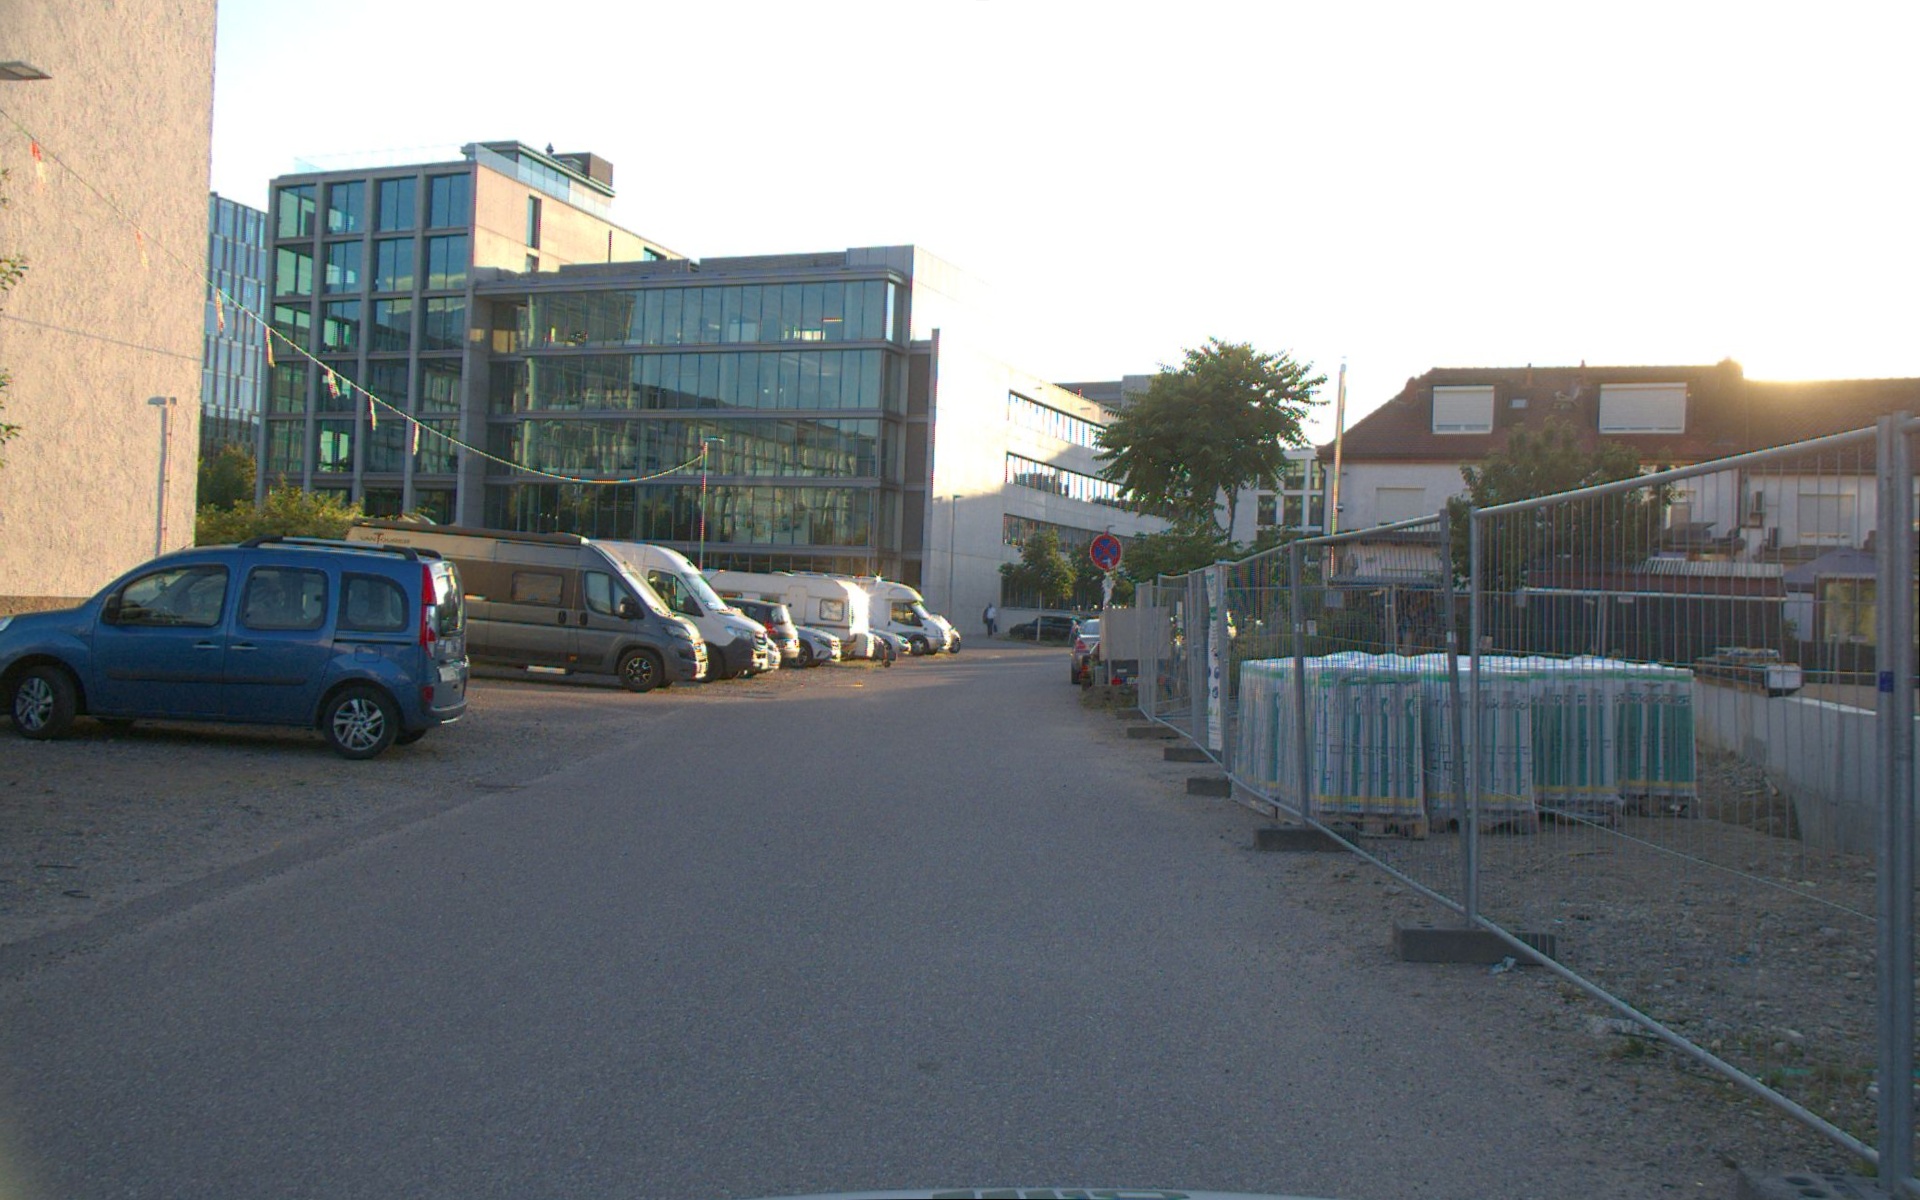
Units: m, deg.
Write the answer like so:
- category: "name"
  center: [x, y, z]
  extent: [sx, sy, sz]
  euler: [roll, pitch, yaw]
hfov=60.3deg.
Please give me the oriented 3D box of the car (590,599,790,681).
- category: "car"
  center: [-5.754, 0.850, 35.533]
  extent: [3.842, 1.533, 1.791]
  euler: [3, -1, 6]

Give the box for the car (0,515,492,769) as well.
- category: "car"
  center: [-6.465, 0.365, 15.124]
  extent: [3.852, 1.944, 1.745]
  euler: [4, 0, -7]

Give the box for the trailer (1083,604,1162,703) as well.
- category: "trailer"
  center: [2.901, 0.924, 29.835]
  extent: [1.224, 1.694, 2.803]
  euler: [0, -1, 2]

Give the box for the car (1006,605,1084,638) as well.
- category: "car"
  center: [4.403, 1.104, 85.414]
  extent: [3.656, 1.507, 1.771]
  euler: [3, 1, 16]

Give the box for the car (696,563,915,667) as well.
- category: "car"
  center: [-4.466, 0.459, 48.327]
  extent: [5.763, 2.578, 2.413]
  euler: [4, -1, 12]

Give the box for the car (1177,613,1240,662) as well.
- category: "car"
  center: [11.470, 1.697, 76.016]
  extent: [2.022, 2.131, 4.874]
  euler: [1, 0, 18]

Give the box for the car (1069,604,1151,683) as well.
- category: "car"
  center: [3.627, 0.994, 39.391]
  extent: [1.767, 1.755, 4.932]
  euler: [0, -1, 7]

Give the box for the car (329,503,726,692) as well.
- category: "car"
  center: [-7.468, -0.020, 29.124]
  extent: [6.260, 2.760, 2.112]
  euler: [4, -1, -2]

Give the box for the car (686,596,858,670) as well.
- category: "car"
  center: [-4.909, 0.849, 43.386]
  extent: [4.039, 1.618, 1.749]
  euler: [4, 0, 14]

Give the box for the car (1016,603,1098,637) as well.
- category: "car"
  center: [5.174, 1.065, 88.097]
  extent: [4.000, 1.555, 1.847]
  euler: [3, 0, 16]

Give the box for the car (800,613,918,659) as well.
- category: "car"
  center: [-3.453, 1.229, 56.950]
  extent: [3.727, 1.352, 1.694]
  euler: [3, 0, 9]

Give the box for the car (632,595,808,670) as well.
- category: "car"
  center: [-5.855, 0.774, 40.530]
  extent: [3.842, 1.618, 1.749]
  euler: [3, 0, 14]

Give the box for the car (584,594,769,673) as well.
- category: "car"
  center: [-6.565, 0.783, 38.550]
  extent: [3.843, 1.618, 1.749]
  euler: [3, -2, 6]

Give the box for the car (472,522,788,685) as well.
- category: "car"
  center: [-6.543, 0.056, 33.185]
  extent: [5.704, 2.760, 2.051]
  euler: [4, 0, 4]

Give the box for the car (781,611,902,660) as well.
- category: "car"
  center: [-3.895, 1.160, 54.714]
  extent: [3.647, 1.391, 1.707]
  euler: [3, 0, 7]

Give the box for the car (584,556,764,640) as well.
- category: "car"
  center: [-10.582, -0.084, 61.293]
  extent: [6.111, 2.719, 2.224]
  euler: [3, 0, 16]

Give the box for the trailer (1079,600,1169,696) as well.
- category: "trailer"
  center: [3.397, 0.921, 33.749]
  extent: [1.694, 1.809, 4.940]
  euler: [0, -1, 7]

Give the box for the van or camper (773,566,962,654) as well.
- category: "van or camper"
  center: [-3.445, 0.359, 62.312]
  extent: [6.597, 2.948, 2.410]
  euler: [3, 0, 11]

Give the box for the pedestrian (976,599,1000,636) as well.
- category: "pedestrian"
  center: [1.458, 0.893, 86.131]
  extent: [0.892, 1.882, 0.845]
  euler: [1, 0, -37]

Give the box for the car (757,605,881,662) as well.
- category: "car"
  center: [-4.401, 1.043, 51.903]
  extent: [3.551, 1.545, 1.707]
  euler: [3, 0, 7]

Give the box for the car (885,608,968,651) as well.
- category: "car"
  center: [-1.291, 1.201, 65.579]
  extent: [1.652, 1.545, 4.360]
  euler: [3, -1, 21]
